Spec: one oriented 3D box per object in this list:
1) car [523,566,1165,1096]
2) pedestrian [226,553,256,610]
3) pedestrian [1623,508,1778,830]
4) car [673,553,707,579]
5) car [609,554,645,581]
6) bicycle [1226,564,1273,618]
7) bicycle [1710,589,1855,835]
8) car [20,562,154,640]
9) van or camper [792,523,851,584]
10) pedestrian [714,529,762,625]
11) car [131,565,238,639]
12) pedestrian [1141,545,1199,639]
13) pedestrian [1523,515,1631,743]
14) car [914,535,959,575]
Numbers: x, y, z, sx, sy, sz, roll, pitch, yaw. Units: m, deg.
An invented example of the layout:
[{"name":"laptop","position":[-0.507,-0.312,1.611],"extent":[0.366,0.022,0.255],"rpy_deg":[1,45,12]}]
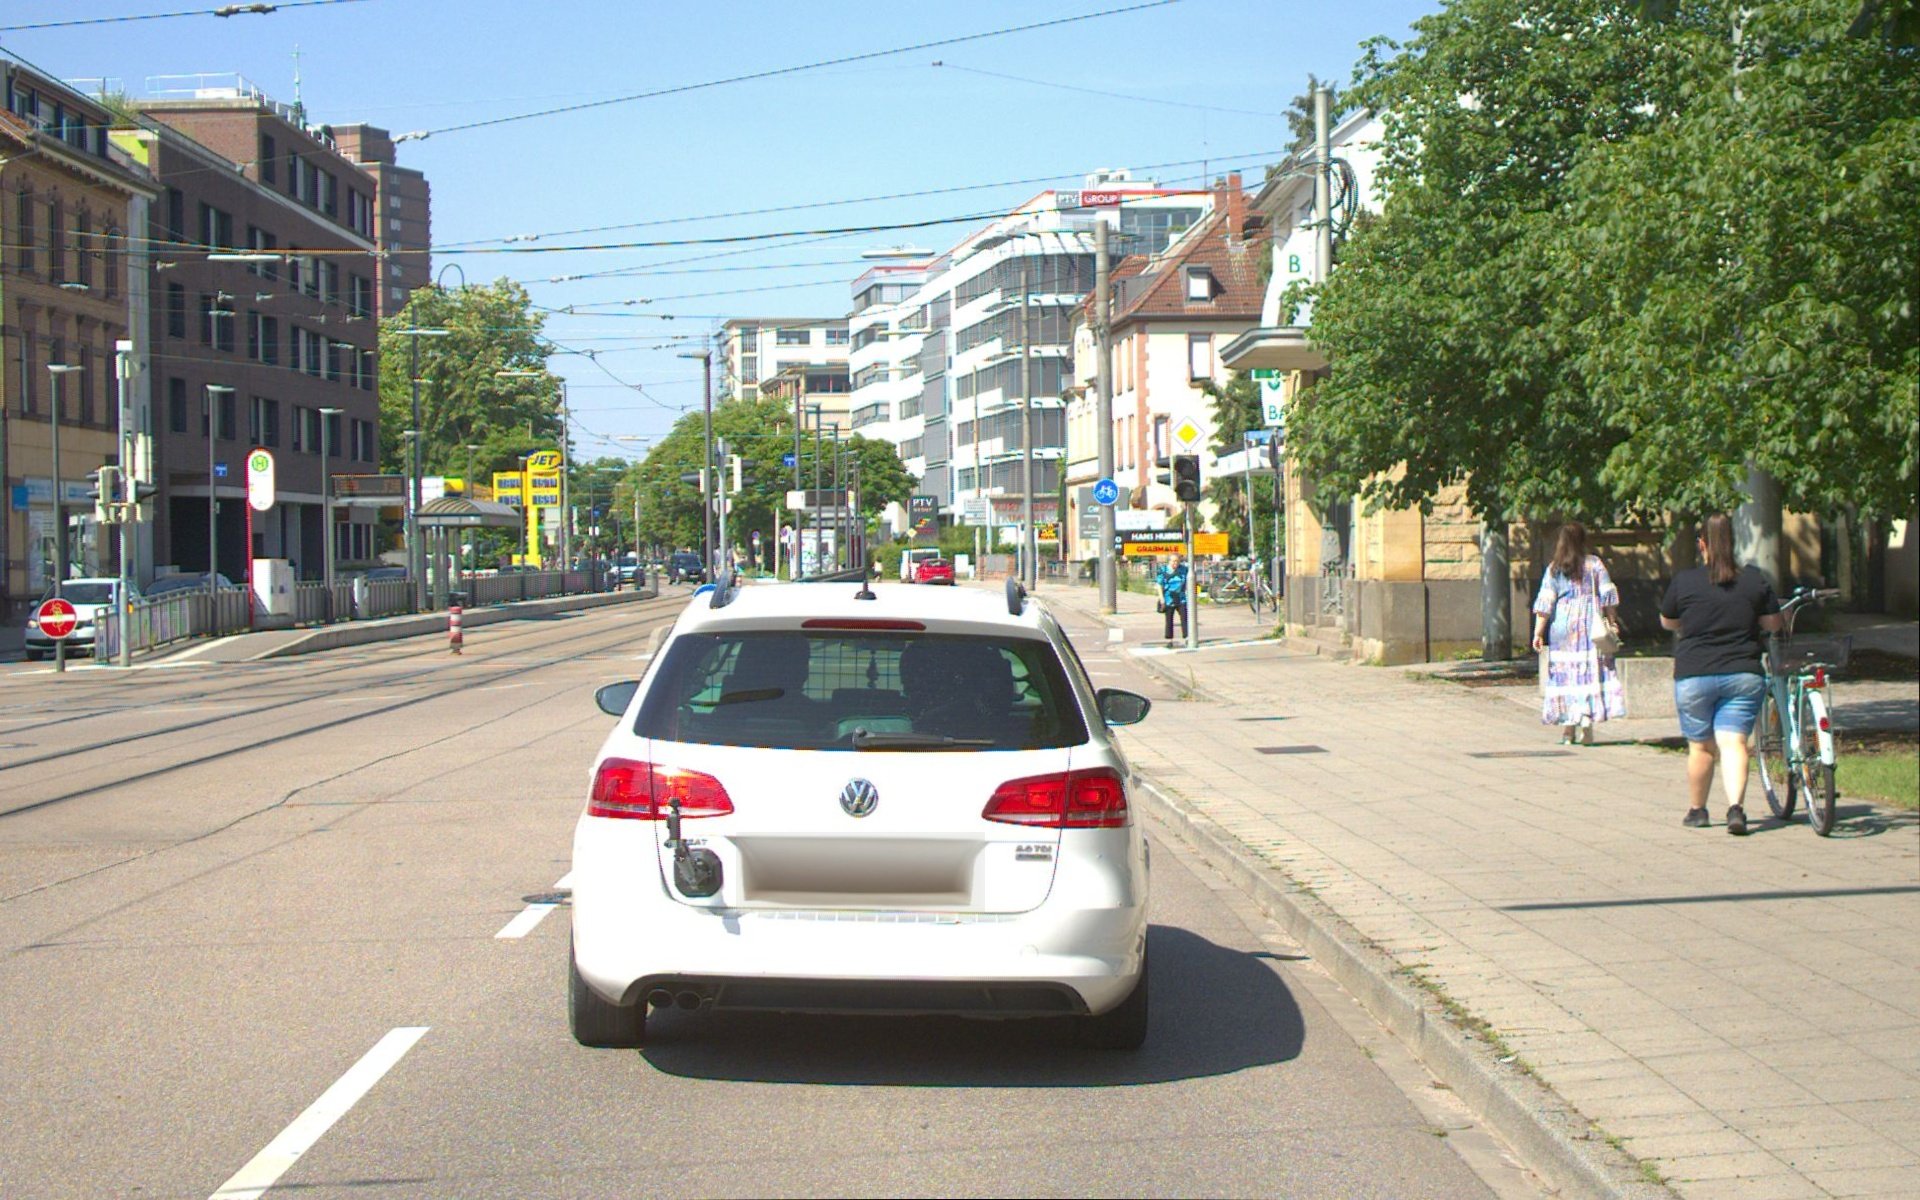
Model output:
[{"name":"car","position":[-0.317,0.621,11.443],"extent":[1.753,1.413,3.853],"rpy_deg":[-1,1,0]},{"name":"pedestrian","position":[-22.544,-0.575,107.832],"extent":[0.725,1.785,0.964],"rpy_deg":[0,1,0]},{"name":"pedestrian","position":[3.674,0.330,17.093],"extent":[0.540,1.543,0.663],"rpy_deg":[-3,1,-1]},{"name":"car","position":[-15.776,-1.976,201.164],"extent":[1.667,1.461,3.773],"rpy_deg":[-1,1,0]},{"name":"car","position":[-18.798,-1.827,194.142],"extent":[1.667,1.461,3.773],"rpy_deg":[-1,1,0]},{"name":"bicycle","position":[6.281,-0.202,74.515],"extent":[0.726,1.135,2.193],"rpy_deg":[-1,1,12]},{"name":"bicycle","position":[3.983,0.515,16.727],"extent":[0.536,1.107,1.806],"rpy_deg":[-2,0,10]},{"name":"car","position":[-16.389,-0.004,64.671],"extent":[1.625,1.426,3.963],"rpy_deg":[0,1,-2]},{"name":"van or camper","position":[-7.389,-2.519,184.026],"extent":[2.943,3.169,6.614],"rpy_deg":[-1,1,-1]},{"name":"pedestrian","position":[-4.239,-0.446,65.655],"extent":[0.826,1.803,0.833],"rpy_deg":[-1,1,1]},{"name":"car","position":[-16.295,0.019,72.400],"extent":[1.572,1.454,3.815],"rpy_deg":[-1,1,-3]},{"name":"pedestrian","position":[3.411,-0.129,55.951],"extent":[0.856,1.505,0.782],"rpy_deg":[-1,1,0]},{"name":"pedestrian","position":[4.617,0.208,25.742],"extent":[0.650,1.676,0.707],"rpy_deg":[-1,1,-1]},{"name":"car","position":[-1.212,-2.321,176.497],"extent":[1.993,2.007,4.001],"rpy_deg":[-1,1,-5]}]
